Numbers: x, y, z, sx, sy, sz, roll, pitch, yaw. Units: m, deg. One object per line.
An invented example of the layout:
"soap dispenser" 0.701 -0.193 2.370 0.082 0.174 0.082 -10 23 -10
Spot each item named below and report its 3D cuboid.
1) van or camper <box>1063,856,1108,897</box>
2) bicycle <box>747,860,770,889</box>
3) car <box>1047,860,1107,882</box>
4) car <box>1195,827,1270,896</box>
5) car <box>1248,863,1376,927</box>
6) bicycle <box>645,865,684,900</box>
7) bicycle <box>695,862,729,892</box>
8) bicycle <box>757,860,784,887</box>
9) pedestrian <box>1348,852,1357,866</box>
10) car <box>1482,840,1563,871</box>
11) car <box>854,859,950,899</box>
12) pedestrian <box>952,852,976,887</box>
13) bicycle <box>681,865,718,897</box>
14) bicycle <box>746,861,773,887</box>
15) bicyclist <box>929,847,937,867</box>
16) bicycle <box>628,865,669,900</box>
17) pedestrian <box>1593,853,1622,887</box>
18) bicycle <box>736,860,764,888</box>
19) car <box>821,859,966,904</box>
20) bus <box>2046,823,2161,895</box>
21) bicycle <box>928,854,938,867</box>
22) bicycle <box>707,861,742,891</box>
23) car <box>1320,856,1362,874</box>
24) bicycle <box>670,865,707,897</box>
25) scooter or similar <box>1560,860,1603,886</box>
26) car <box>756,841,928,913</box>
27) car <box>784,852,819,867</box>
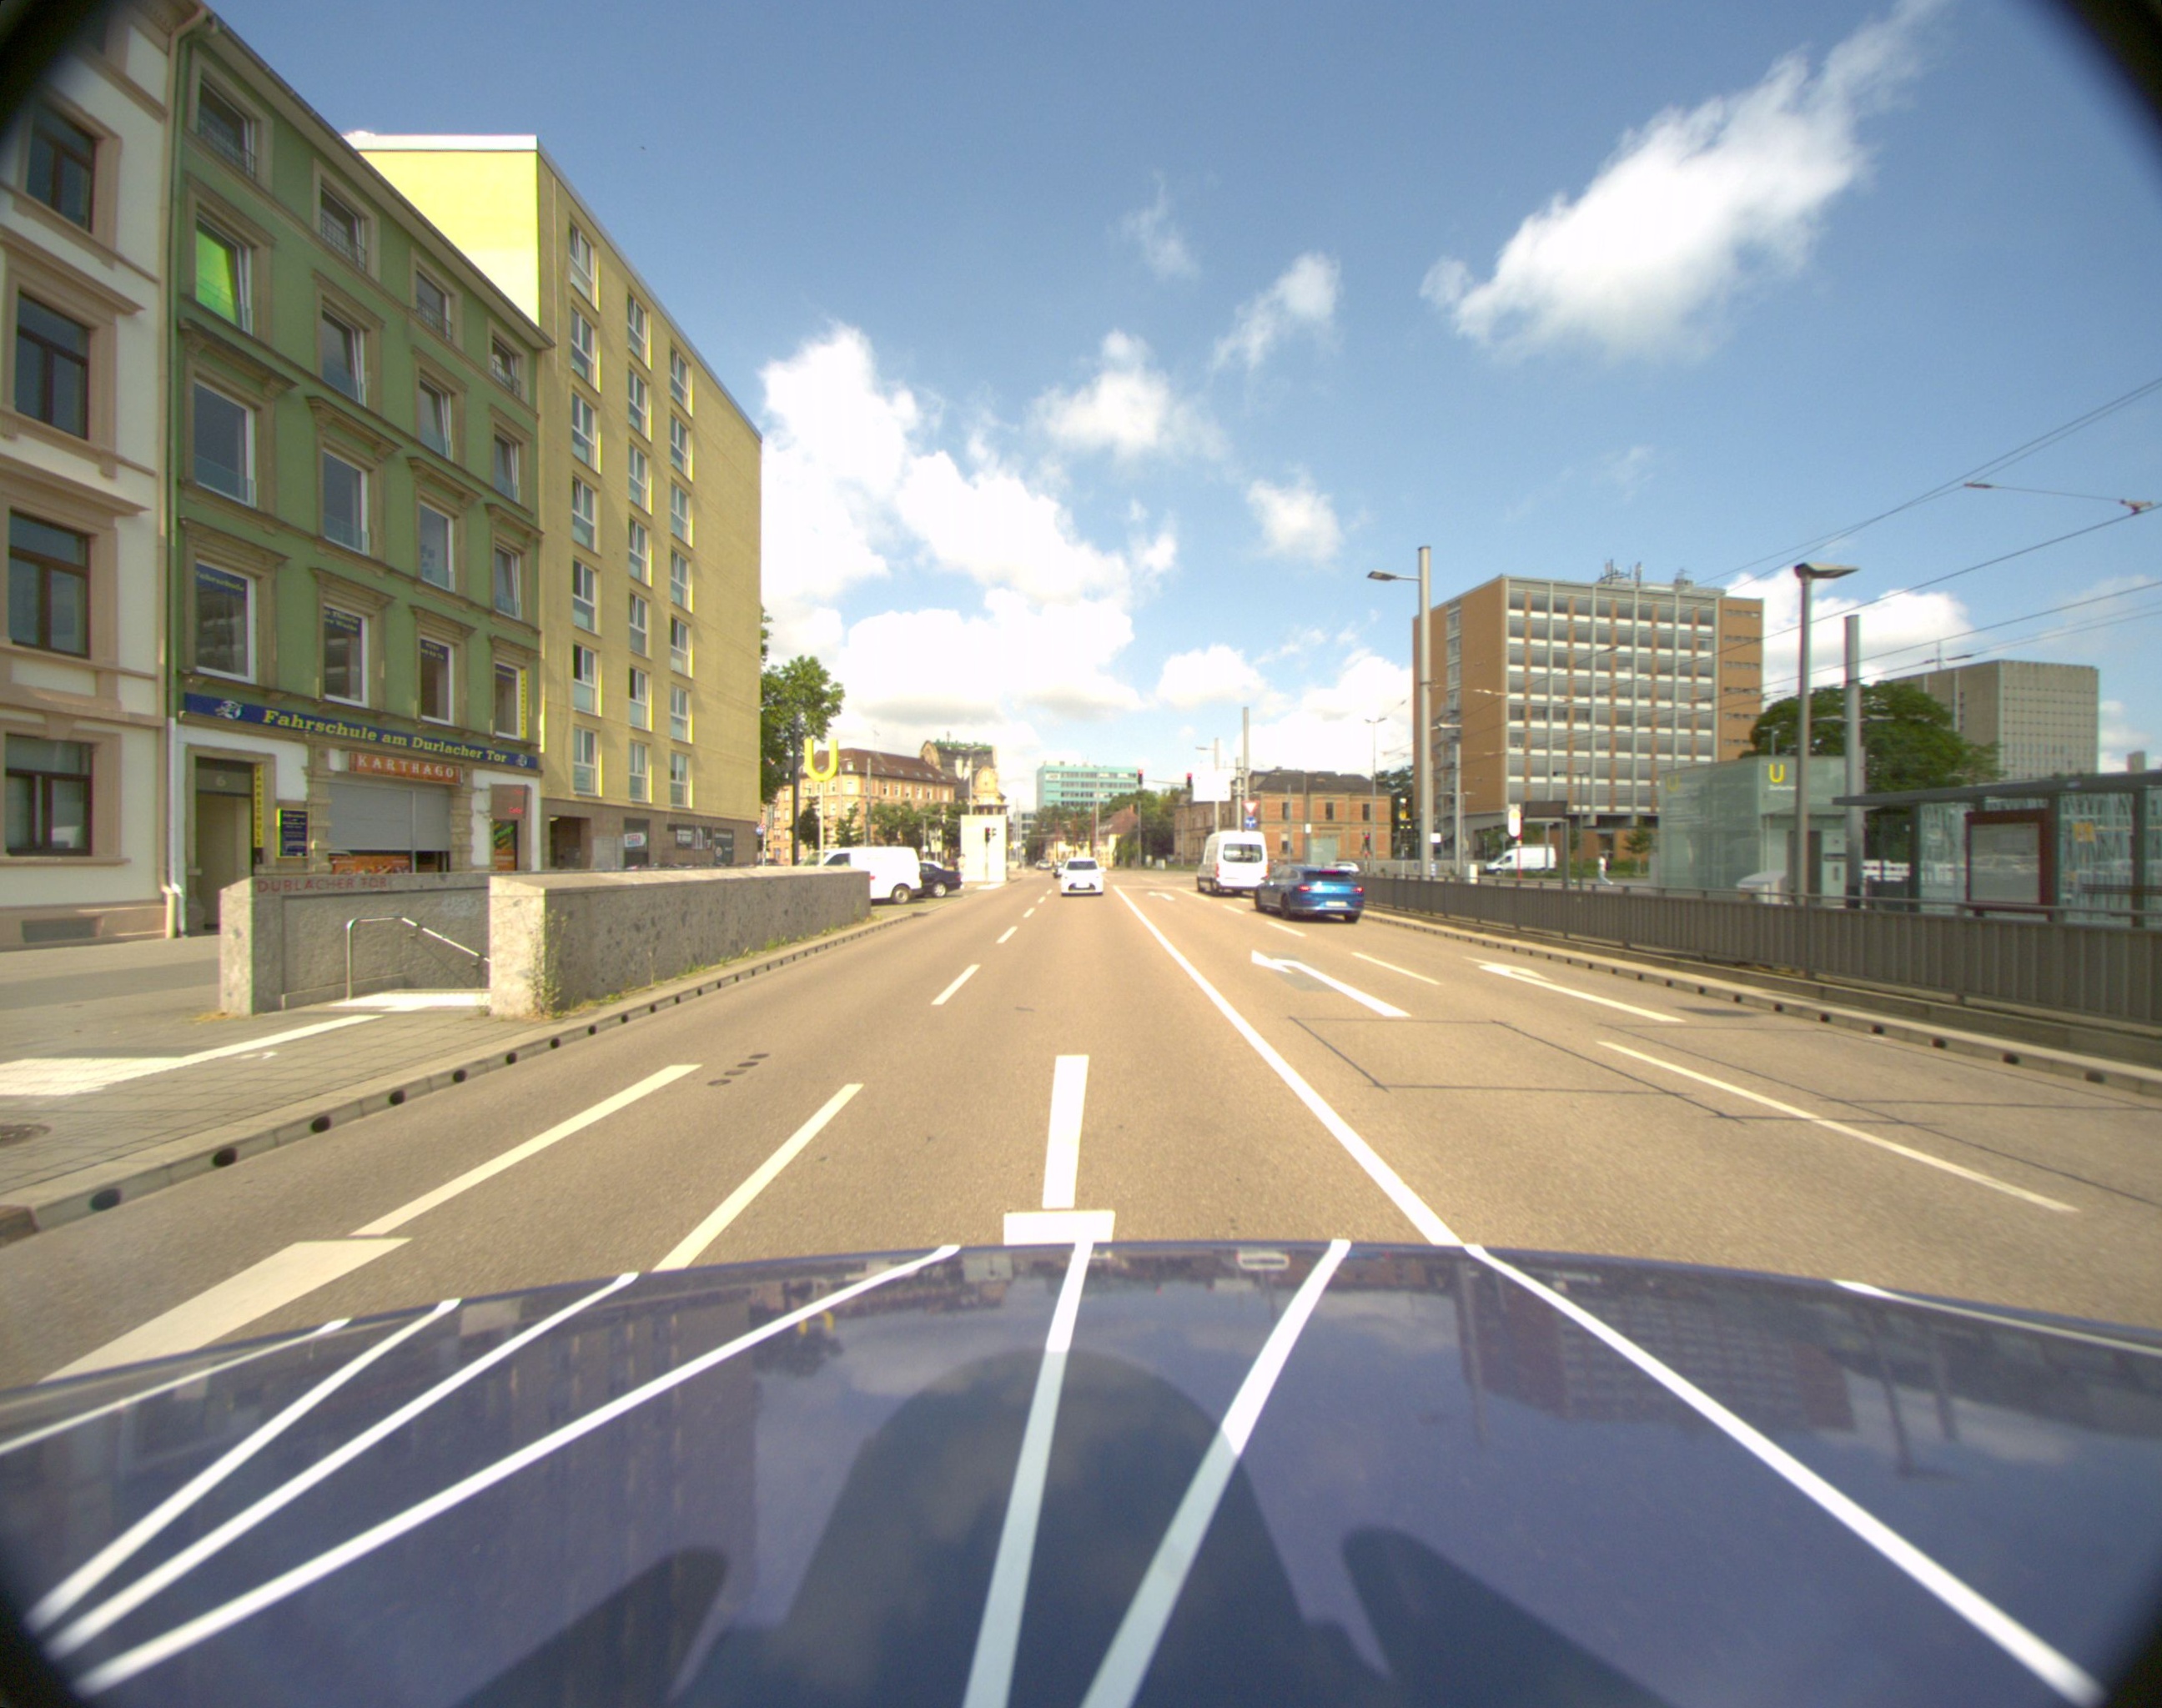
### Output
"van or camper" 0.156 0.827 29.405 1.627 1.467 4.000 0 0 0
"bicycle" -14.960 0.932 35.321 0.488 1.265 1.888 0 0 -7
"car" -0.254 1.320 60.136 4.551 1.274 1.994 -6 6 -43
"car" 6.154 0.267 31.562 1.998 2.606 5.579 1 0 0
"car" 5.913 0.986 20.075 1.855 1.447 4.554 1 0 -2
"bicycle" -15.087 0.999 27.538 0.487 1.194 1.645 0 0 0
"bicycle" -15.507 0.940 31.978 0.487 1.194 1.646 0 0 5
"bicycle" -15.185 0.943 37.200 0.531 1.265 1.646 0 1 5
"pedestrian" 31.834 0.583 89.005 0.763 1.579 0.774 1 1 40
"car" 41.369 0.096 71.348 6.137 2.862 2.489 0 1 15
"car" -7.549 1.010 32.187 3.518 1.432 1.715 -3 1 -40
"pedestrian" -6.190 0.785 40.223 0.996 1.750 0.784 -3 5 -24
"bicycle" -15.042 1.061 29.979 0.487 1.194 1.646 0 0 5
"bicycle" -15.724 0.967 37.214 0.487 1.265 1.646 0 1 5
"bicyclist" -13.518 0.258 69.371 0.712 1.735 0.827 0 2 -7
"bicycle" -15.634 1.027 27.500 0.487 1.194 1.645 0 0 0
"pedestrian" 26.885 0.806 38.802 1.094 1.680 0.931 -1 0 42
"bicycle" -15.509 0.934 35.644 0.487 1.265 1.646 0 1 5
"car" -7.070 0.992 29.080 5.074 1.460 1.885 -1 1 -41
"bus" 44.028 0.204 29.951 7.079 2.817 2.706 0 1 44
"bicycle" -13.516 0.545 69.385 0.789 1.121 1.990 1 1 -7
"bicycle" -14.951 0.921 31.890 0.548 1.194 1.646 0 0 5
"car" 27.934 1.191 81.710 4.132 1.763 2.001 -1 5 18
"bicycle" -15.569 1.069 30.197 0.487 1.194 1.646 0 0 5
"scooter or similar" 26.536 1.015 40.292 1.337 1.183 1.494 -2 4 3
"car" -7.769 0.682 25.031 4.909 2.072 2.074 -2 0 -45
"car" -33.354 0.625 90.741 3.987 1.544 2.003 2 7 36
